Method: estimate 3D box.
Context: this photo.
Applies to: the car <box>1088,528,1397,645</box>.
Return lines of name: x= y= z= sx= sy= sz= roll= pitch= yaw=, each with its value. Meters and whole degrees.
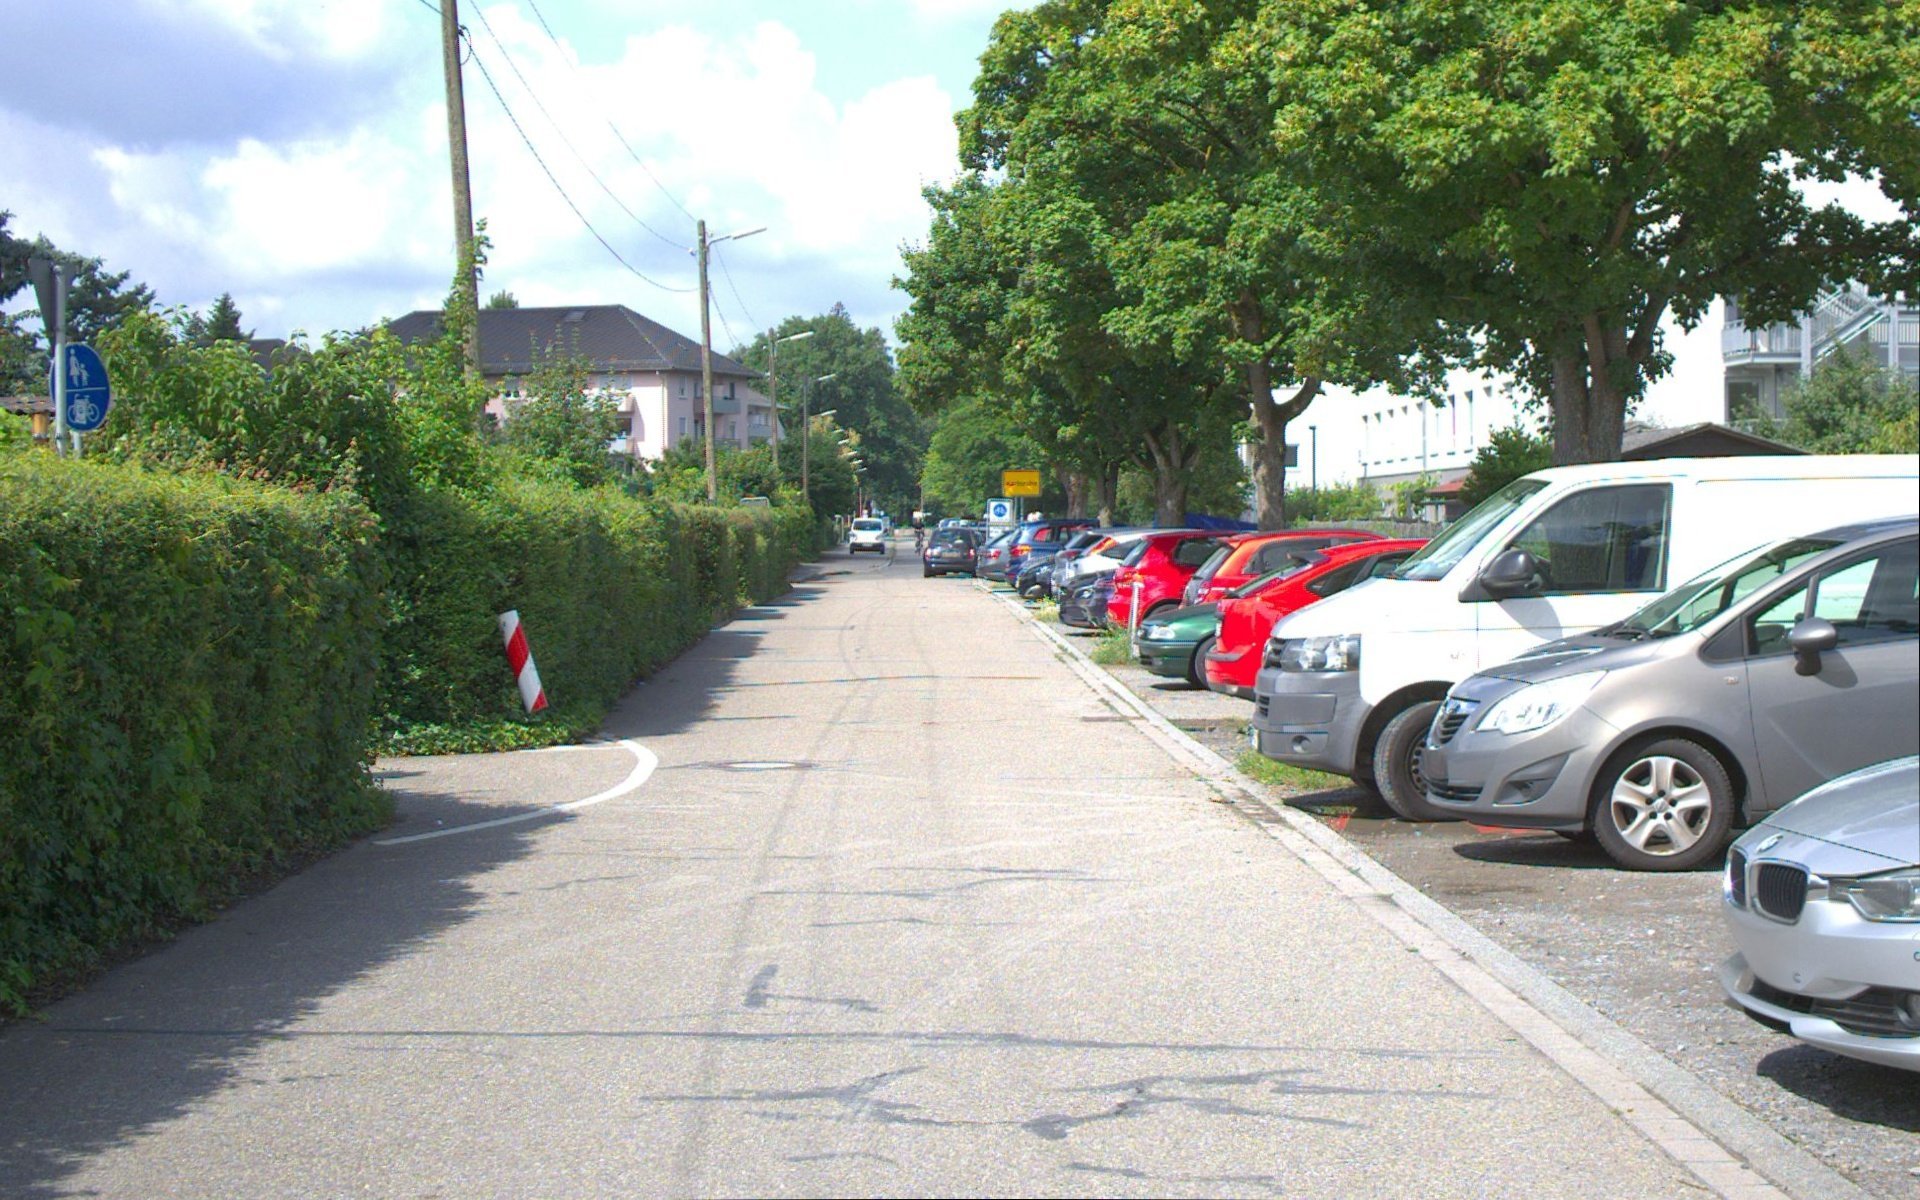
car: x=3.637 y=-0.195 z=44.857 sx=3.910 sy=1.419 sz=1.958 roll=1 pitch=1 yaw=2

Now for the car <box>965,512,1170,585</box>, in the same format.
car: x=2.423 y=-1.185 z=78.514 sx=4.548 sy=1.573 sz=1.809 roll=1 pitch=1 yaw=-2

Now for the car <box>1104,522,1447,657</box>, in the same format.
car: x=3.747 y=-0.137 z=41.344 sx=3.987 sy=1.514 sz=1.854 roll=1 pitch=1 yaw=3

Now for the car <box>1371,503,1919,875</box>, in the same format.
car: x=4.201 y=0.351 z=16.206 sx=4.243 sy=1.587 sz=2.000 roll=-1 pitch=1 yaw=0

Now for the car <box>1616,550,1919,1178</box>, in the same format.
car: x=4.282 y=0.607 z=9.253 sx=4.577 sy=1.461 sz=2.000 roll=0 pitch=1 yaw=-4

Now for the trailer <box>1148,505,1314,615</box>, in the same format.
trailer: x=4.381 y=-0.660 z=55.825 sx=2.449 sy=1.714 sz=1.518 roll=1 pitch=2 yaw=-4

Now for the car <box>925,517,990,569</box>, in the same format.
car: x=-0.060 y=-1.719 z=103.293 sx=1.663 sy=1.501 sz=4.000 roll=1 pitch=1 yaw=4

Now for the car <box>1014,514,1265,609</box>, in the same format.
car: x=3.162 y=-0.690 z=61.289 sx=4.302 sy=1.588 sz=2.000 roll=1 pitch=1 yaw=-1

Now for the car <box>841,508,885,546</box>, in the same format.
car: x=-4.828 y=-3.644 z=171.795 sx=1.903 sy=1.808 sz=4.000 roll=1 pitch=1 yaw=2

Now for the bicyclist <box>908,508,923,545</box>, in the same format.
bicyclist: x=-2.254 y=-3.734 z=173.786 sx=0.659 sy=1.846 sz=1.043 roll=-2 pitch=1 yaw=2

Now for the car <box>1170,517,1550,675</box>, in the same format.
car: x=4.200 y=-0.060 z=36.546 sx=3.764 sy=1.568 sz=1.870 roll=1 pitch=1 yaw=-1

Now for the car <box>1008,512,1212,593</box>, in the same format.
car: x=3.112 y=-0.996 z=71.879 sx=4.154 sy=1.632 sz=1.879 roll=-1 pitch=1 yaw=0

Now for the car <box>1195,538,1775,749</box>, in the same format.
car: x=3.982 y=0.308 z=26.601 sx=4.183 sy=1.499 sz=1.878 roll=1 pitch=1 yaw=1

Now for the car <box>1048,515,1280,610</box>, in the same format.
car: x=3.457 y=-0.648 z=58.708 sx=3.723 sy=1.534 sz=1.850 roll=1 pitch=1 yaw=-4

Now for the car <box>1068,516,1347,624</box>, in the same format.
car: x=3.683 y=-0.458 z=51.628 sx=4.065 sy=1.506 sz=1.958 roll=1 pitch=1 yaw=2

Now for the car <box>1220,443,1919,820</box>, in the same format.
car: x=3.883 y=0.121 z=18.945 sx=4.634 sy=1.880 sz=2.112 roll=-1 pitch=1 yaw=-2

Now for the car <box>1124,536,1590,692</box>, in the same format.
car: x=3.854 y=0.123 z=33.822 sx=4.238 sy=1.423 sz=1.909 roll=1 pitch=1 yaw=-4

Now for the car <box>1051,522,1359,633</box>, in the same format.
car: x=3.381 y=-0.323 z=48.022 sx=4.065 sy=1.450 sz=1.870 roll=1 pitch=1 yaw=-3
